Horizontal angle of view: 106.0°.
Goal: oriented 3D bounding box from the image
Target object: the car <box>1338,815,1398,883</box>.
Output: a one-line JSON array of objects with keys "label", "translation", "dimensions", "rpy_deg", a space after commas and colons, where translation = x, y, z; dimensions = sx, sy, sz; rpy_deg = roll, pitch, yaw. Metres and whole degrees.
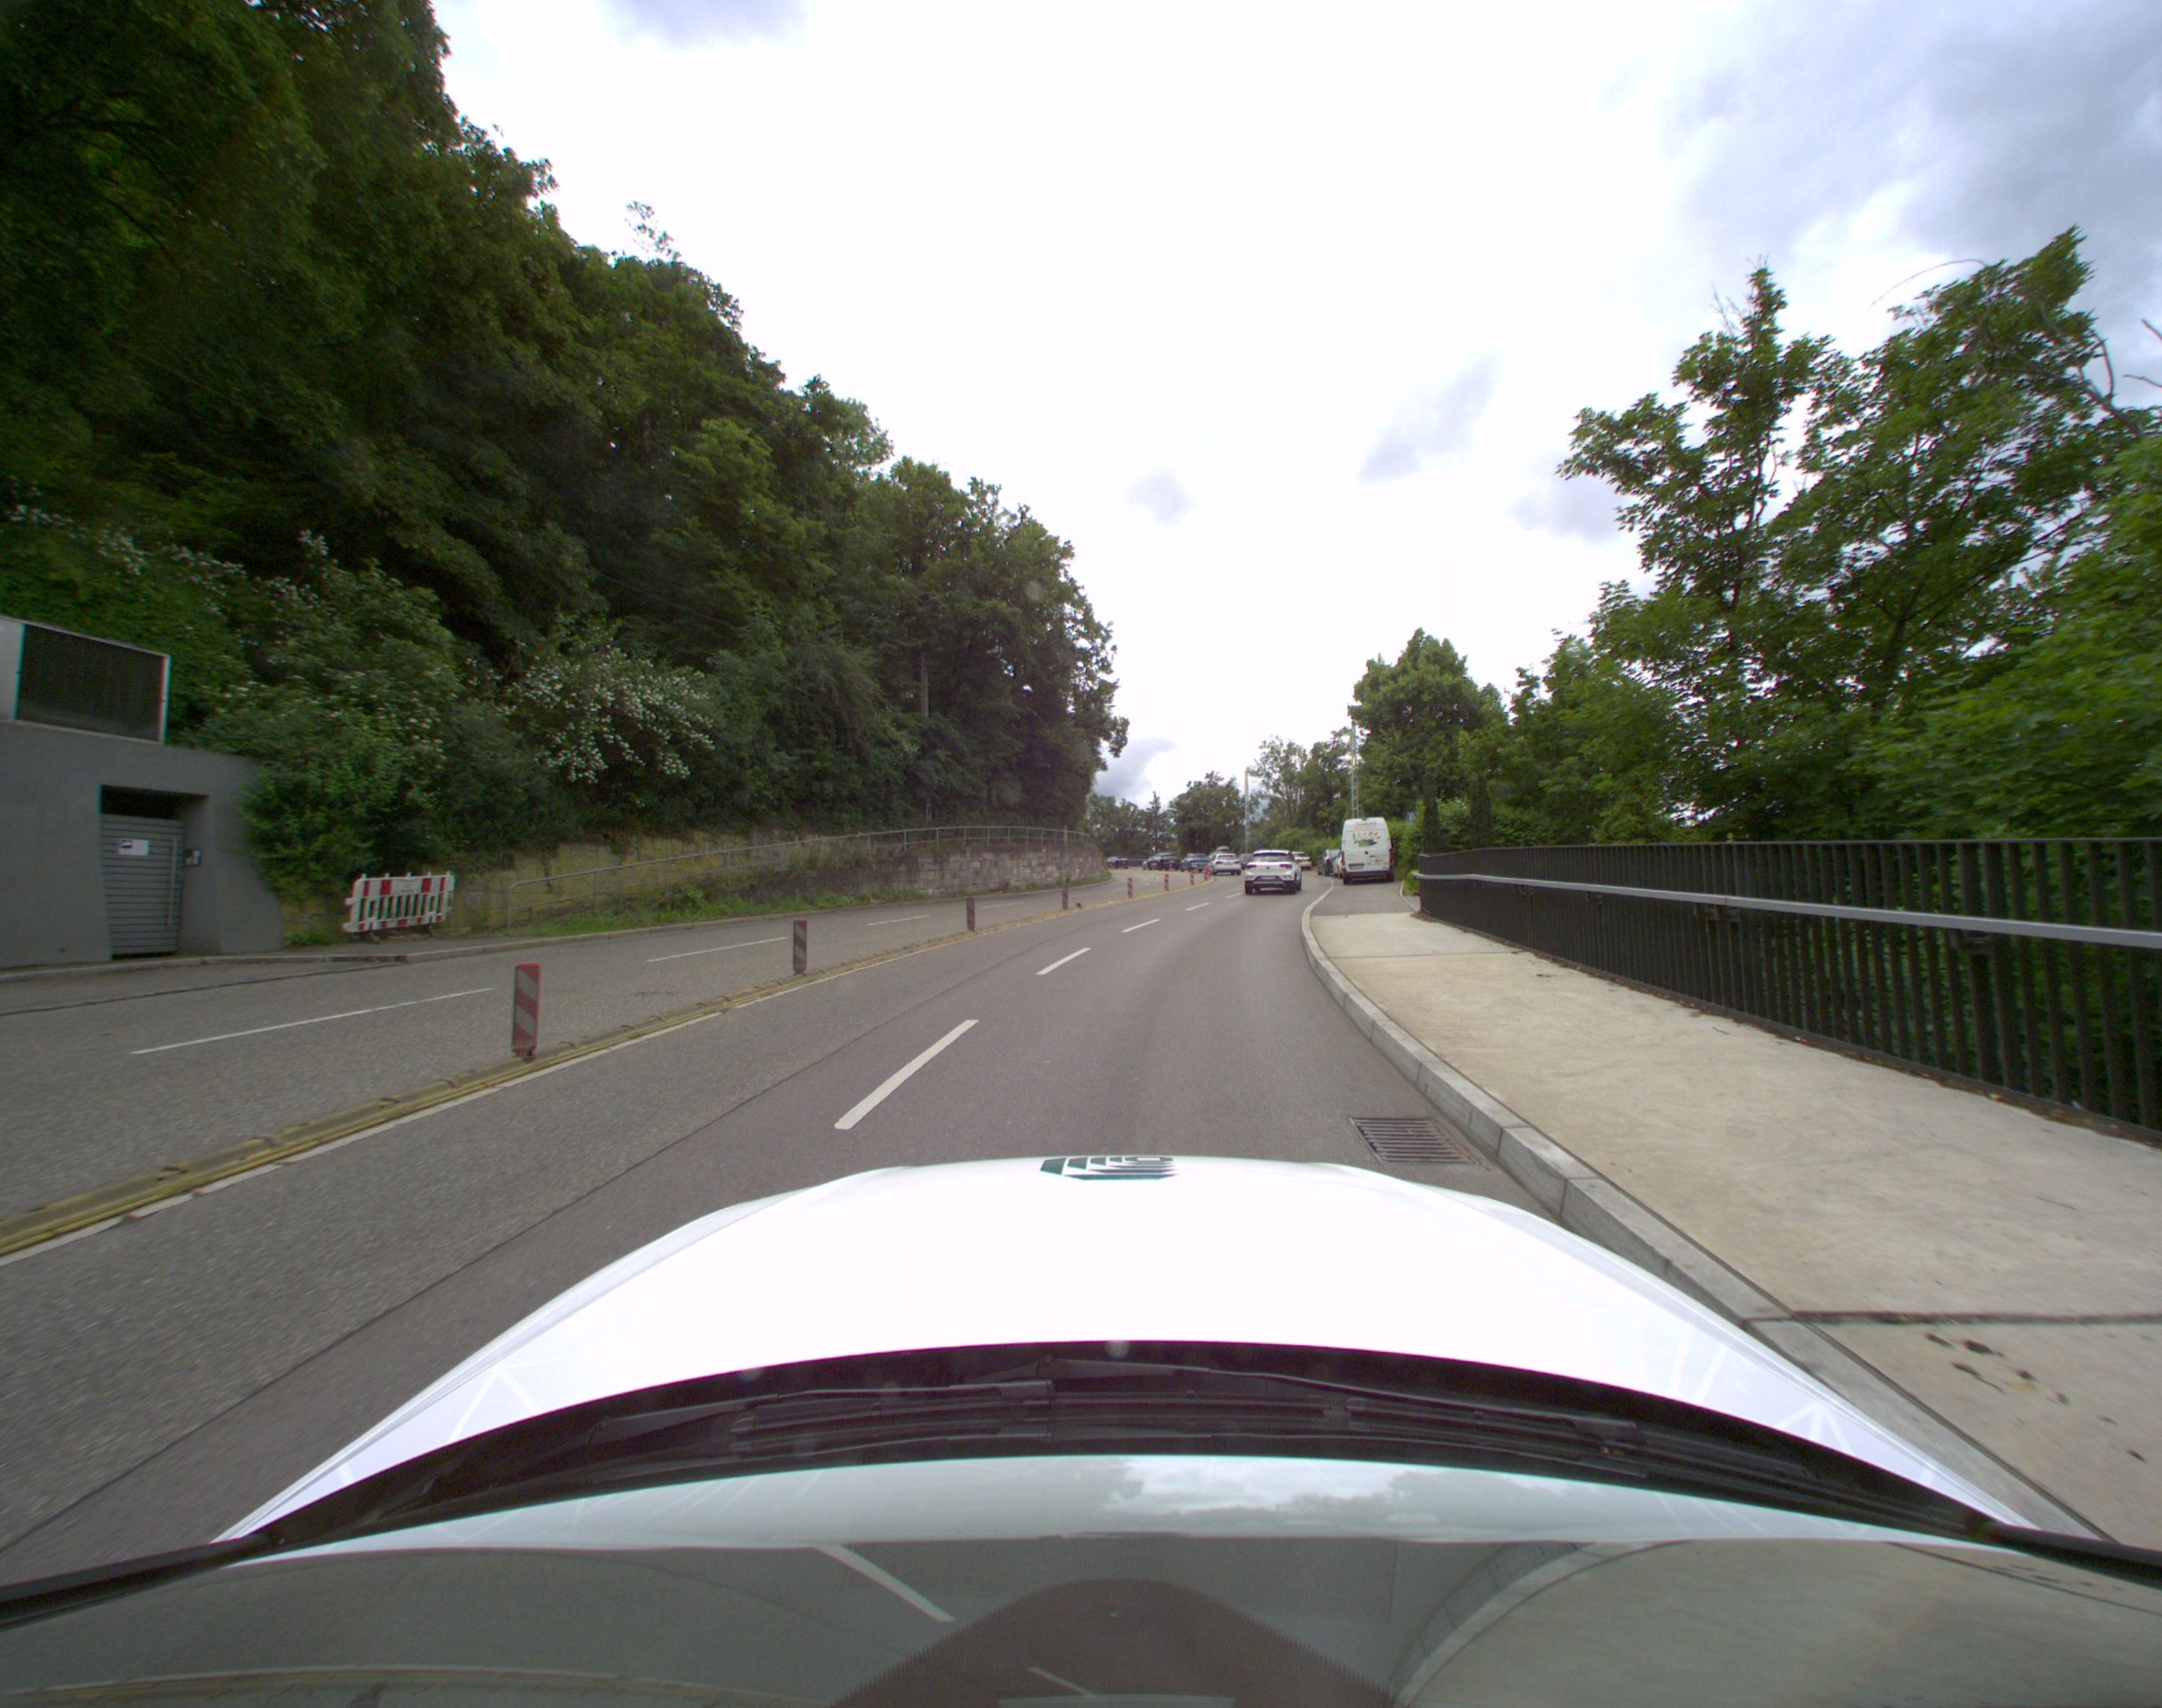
[{"label": "car", "translation": [12.179, -0.177, 34.502], "dimensions": [2.067, 2.523, 5.874], "rpy_deg": [-3, -1, 20]}]

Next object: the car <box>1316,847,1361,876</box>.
[{"label": "car", "translation": [14.187, 0.391, 45.072], "dimensions": [1.690, 1.464, 4.676], "rpy_deg": [-2, 0, 9]}]

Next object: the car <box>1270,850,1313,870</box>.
[{"label": "car", "translation": [16.029, 0.463, 62.104], "dimensions": [1.776, 1.418, 3.989], "rpy_deg": [-2, -1, -7]}]

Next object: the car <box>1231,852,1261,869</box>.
[{"label": "car", "translation": [14.754, 0.603, 72.989], "dimensions": [1.638, 1.464, 3.993], "rpy_deg": [0, -1, -5]}]

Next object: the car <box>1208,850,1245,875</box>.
[{"label": "car", "translation": [9.741, 0.559, 54.843], "dimensions": [1.899, 1.574, 4.002], "rpy_deg": [1, -1, 2]}]

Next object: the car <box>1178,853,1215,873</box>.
[{"label": "car", "translation": [9.497, 0.735, 67.111], "dimensions": [1.992, 1.541, 3.999], "rpy_deg": [2, -1, -8]}]

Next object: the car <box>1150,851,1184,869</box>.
[{"label": "car", "translation": [8.116, 0.581, 77.403], "dimensions": [1.819, 1.690, 3.978], "rpy_deg": [2, -1, -16]}]

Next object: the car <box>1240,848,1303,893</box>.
[{"label": "car", "translation": [7.007, 0.582, 29.716], "dimensions": [1.852, 1.536, 3.822], "rpy_deg": [0, 0, 19]}]

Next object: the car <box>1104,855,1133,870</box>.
[{"label": "car", "translation": [4.391, 1.008, 95.538], "dimensions": [1.895, 1.611, 3.972], "rpy_deg": [2, -1, -21]}]

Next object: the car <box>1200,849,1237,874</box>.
[{"label": "car", "translation": [10.214, 0.548, 60.710], "dimensions": [1.988, 1.739, 3.997], "rpy_deg": [2, -1, -2]}]

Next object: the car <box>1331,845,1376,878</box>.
[{"label": "car", "translation": [13.350, 0.365, 40.112], "dimensions": [1.689, 1.464, 3.848], "rpy_deg": [-2, -1, 13]}]

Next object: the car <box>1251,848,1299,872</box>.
[{"label": "car", "translation": [13.164, 0.427, 55.459], "dimensions": [1.990, 1.586, 3.993], "rpy_deg": [2, -1, -5]}]
